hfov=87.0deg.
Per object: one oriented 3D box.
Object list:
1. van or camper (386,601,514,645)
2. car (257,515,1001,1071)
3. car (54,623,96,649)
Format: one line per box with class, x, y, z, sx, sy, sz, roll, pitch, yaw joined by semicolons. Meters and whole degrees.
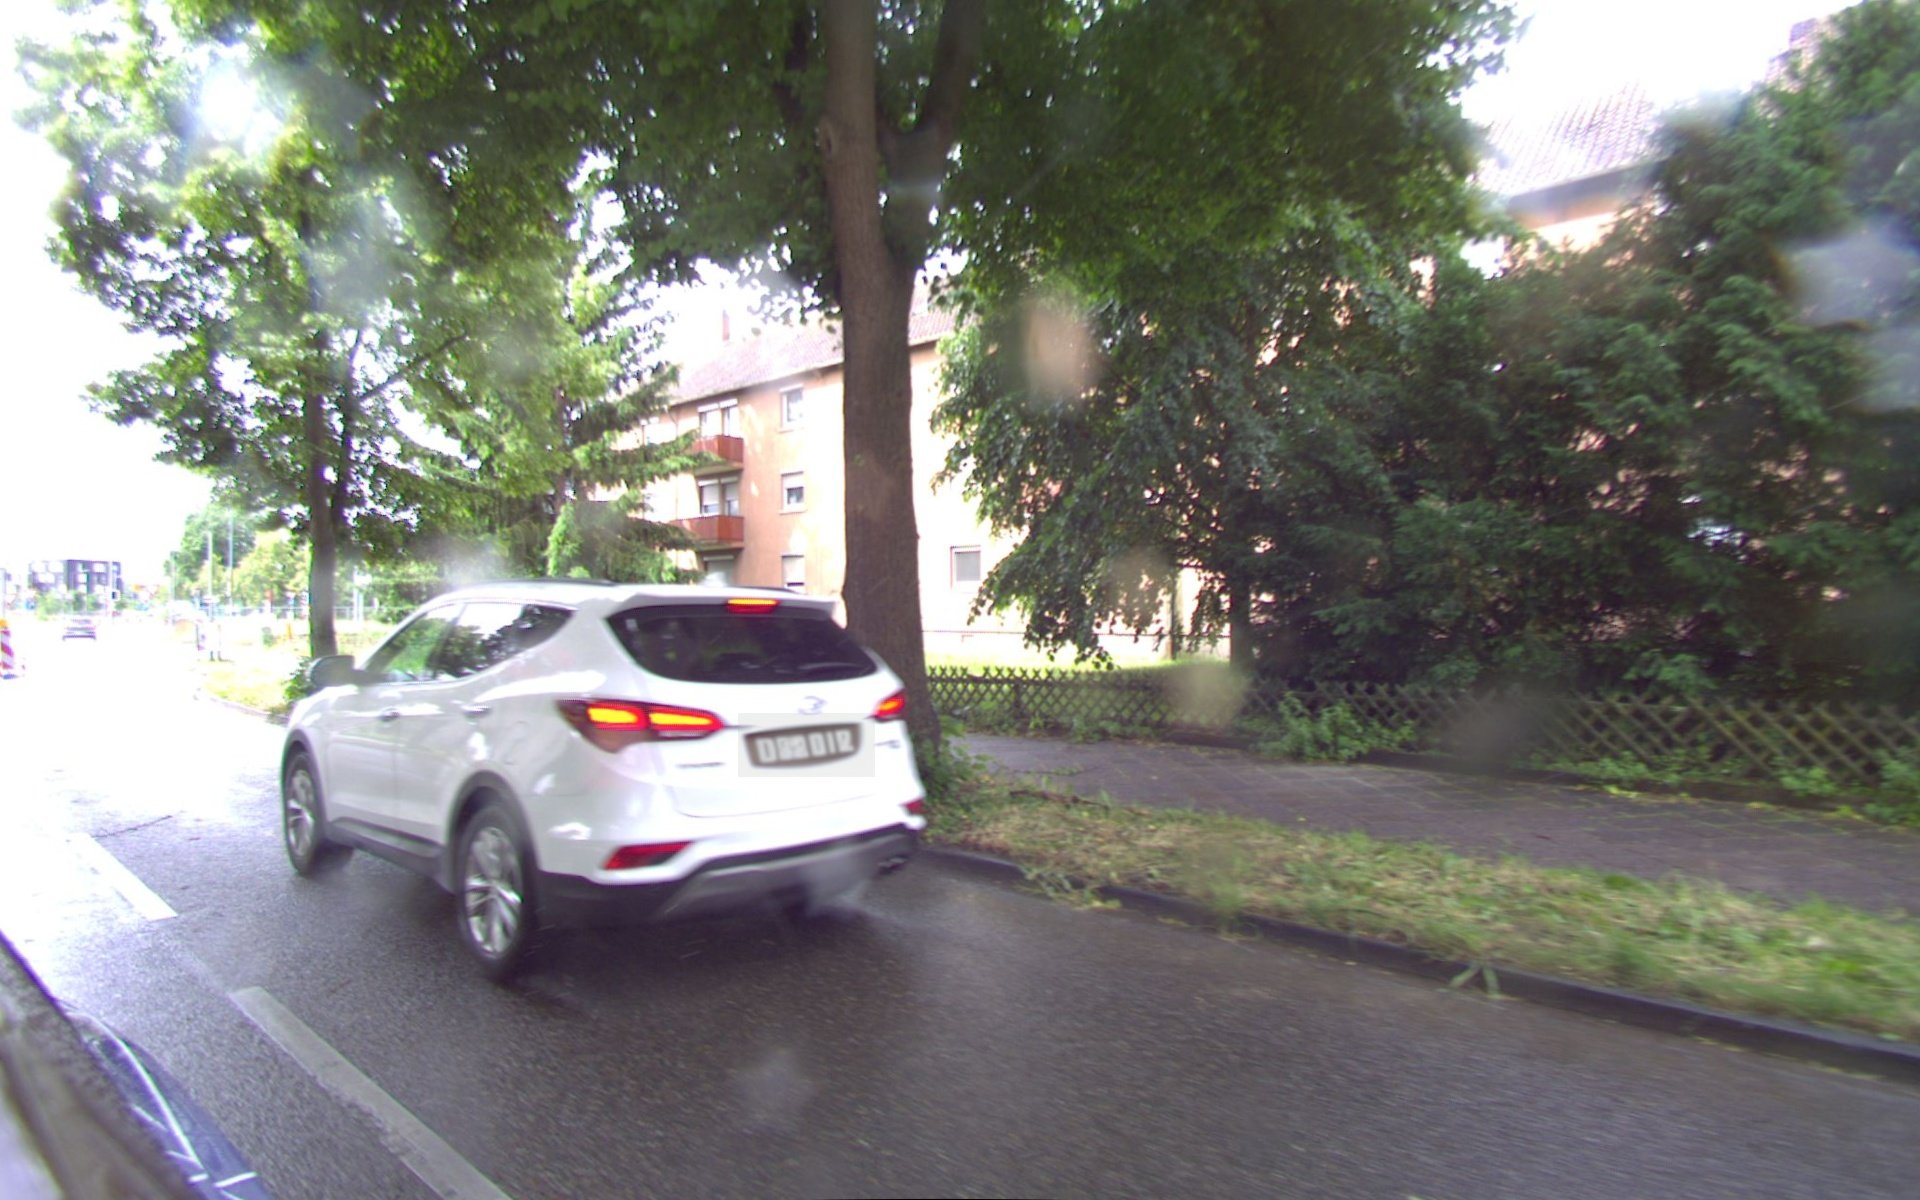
van or camper;-31.939;1.414;63.694;6.863;2.667;2.519;0;-1;-17
car;-1.994;0.641;5.283;4.229;1.726;1.866;-1;-2;43
car;-53.361;2.139;61.001;3.795;1.519;1.661;-1;-1;45
